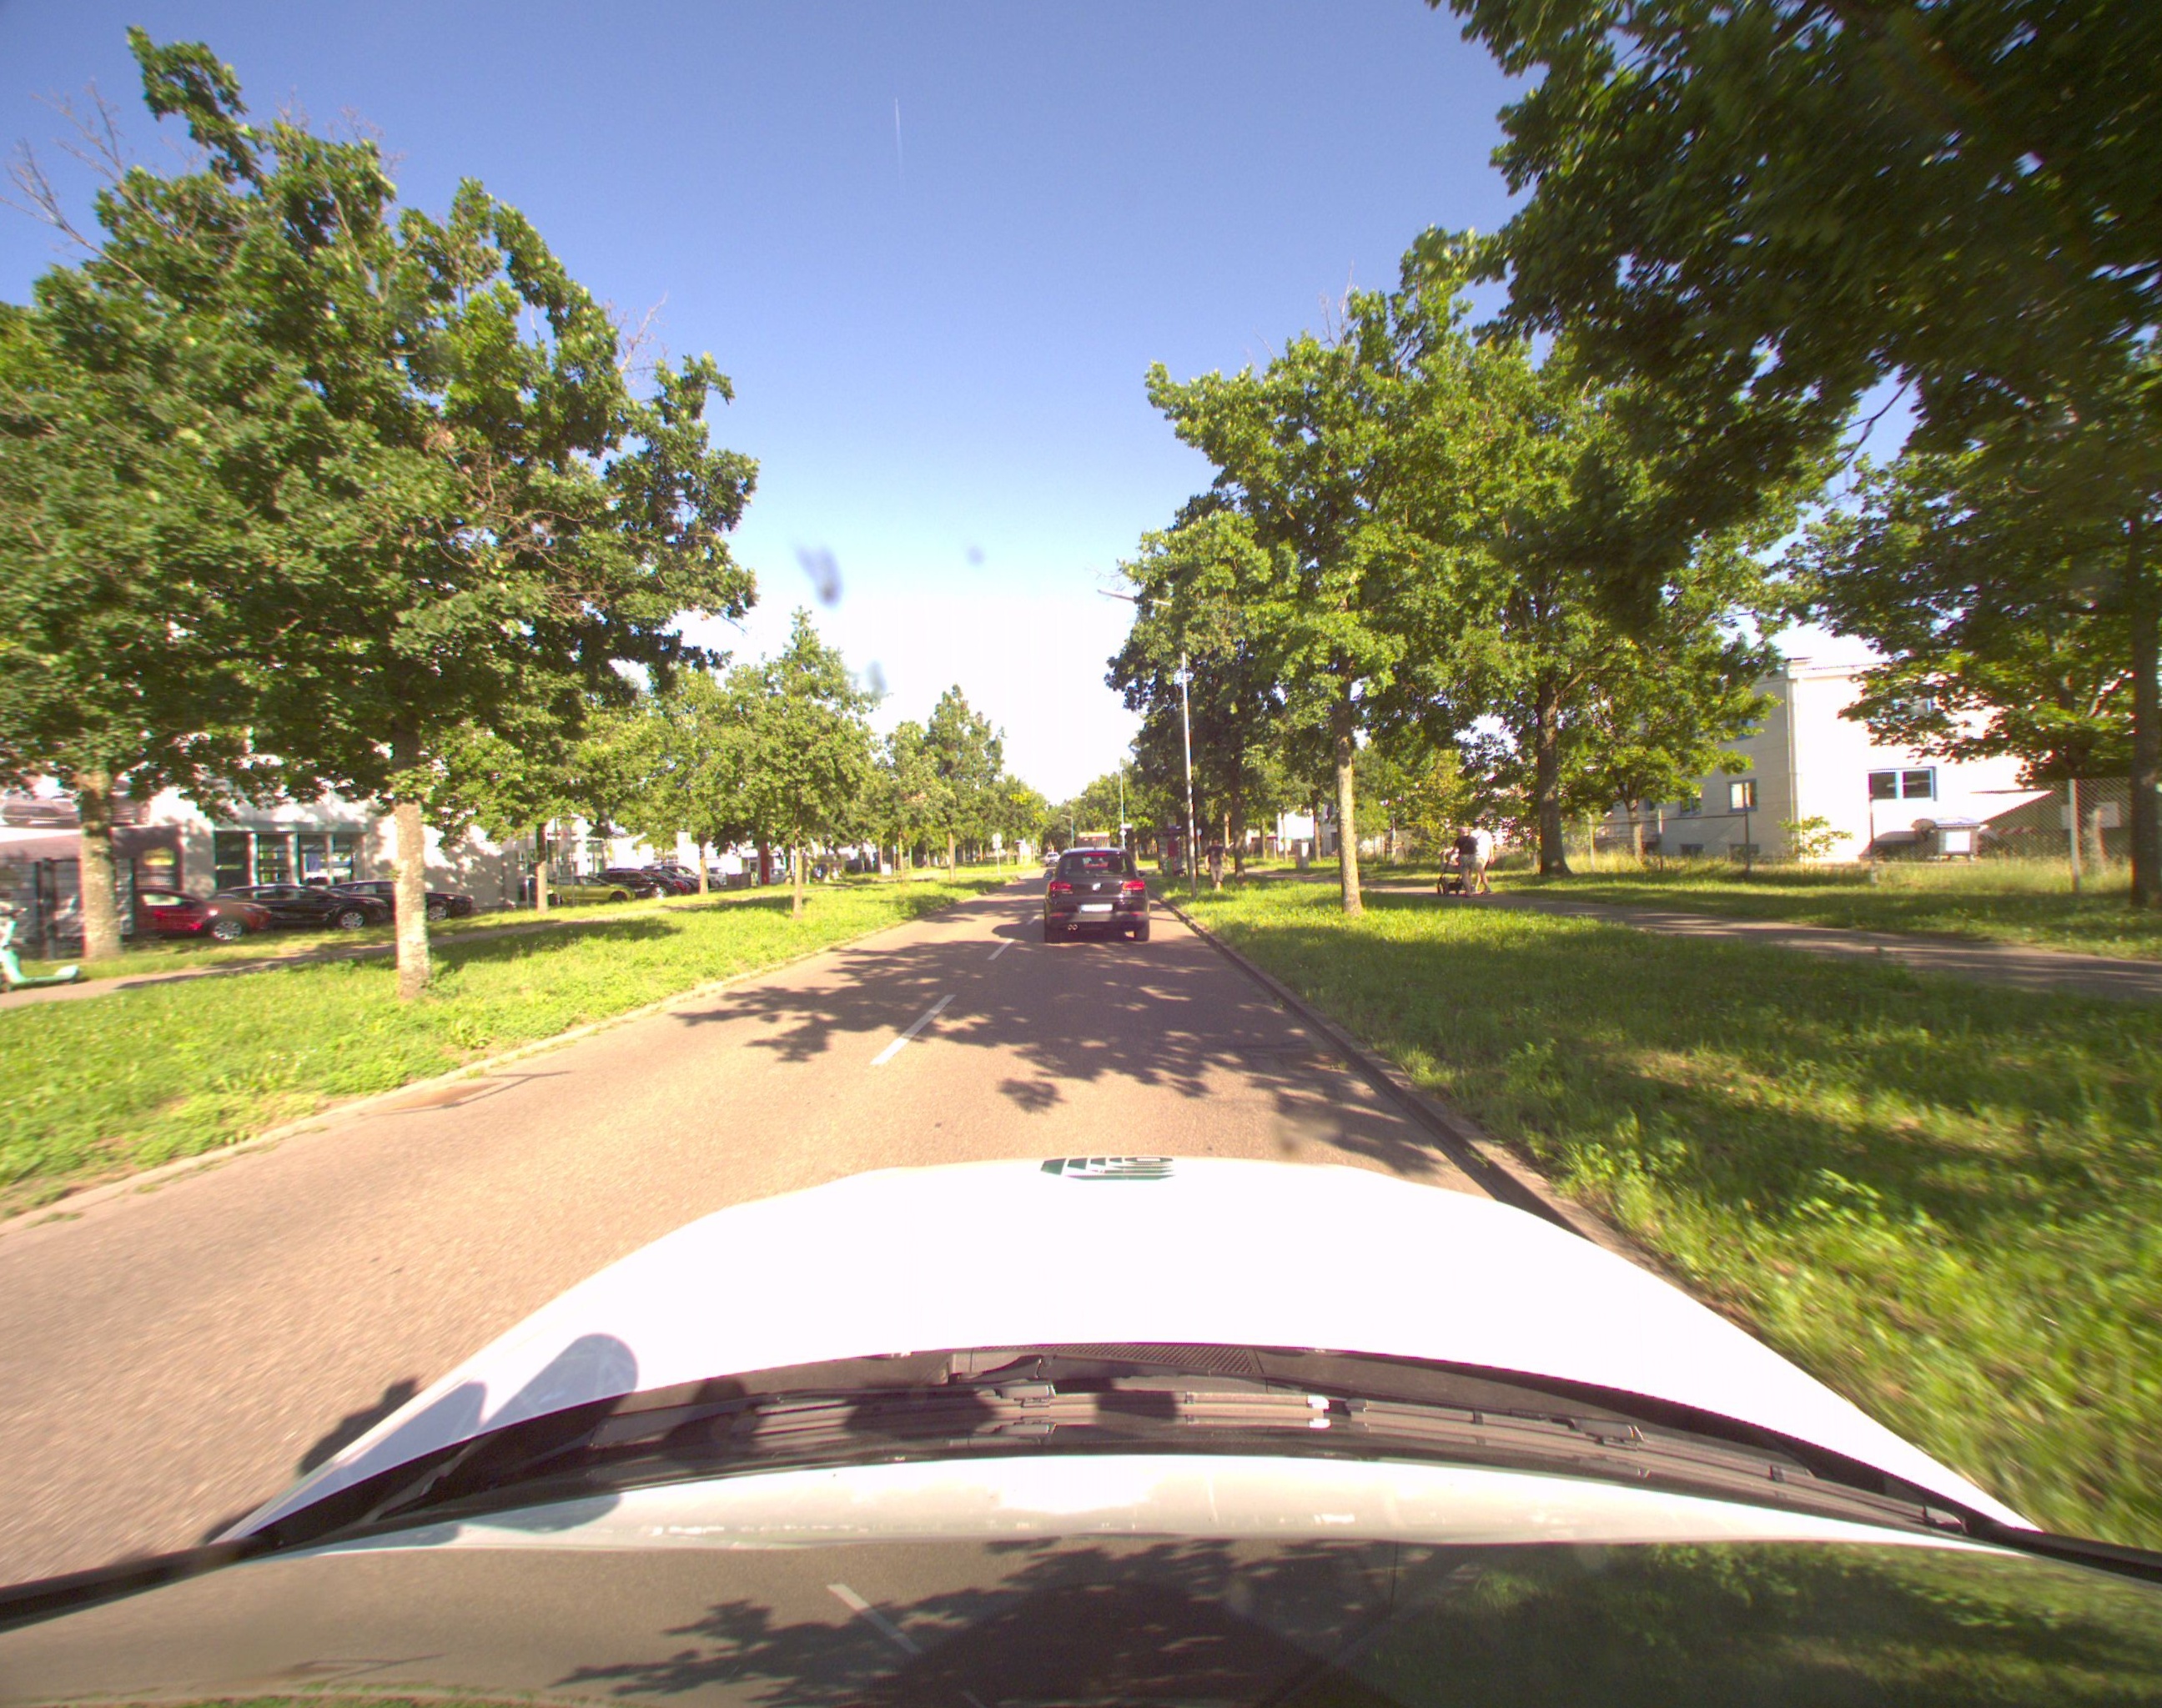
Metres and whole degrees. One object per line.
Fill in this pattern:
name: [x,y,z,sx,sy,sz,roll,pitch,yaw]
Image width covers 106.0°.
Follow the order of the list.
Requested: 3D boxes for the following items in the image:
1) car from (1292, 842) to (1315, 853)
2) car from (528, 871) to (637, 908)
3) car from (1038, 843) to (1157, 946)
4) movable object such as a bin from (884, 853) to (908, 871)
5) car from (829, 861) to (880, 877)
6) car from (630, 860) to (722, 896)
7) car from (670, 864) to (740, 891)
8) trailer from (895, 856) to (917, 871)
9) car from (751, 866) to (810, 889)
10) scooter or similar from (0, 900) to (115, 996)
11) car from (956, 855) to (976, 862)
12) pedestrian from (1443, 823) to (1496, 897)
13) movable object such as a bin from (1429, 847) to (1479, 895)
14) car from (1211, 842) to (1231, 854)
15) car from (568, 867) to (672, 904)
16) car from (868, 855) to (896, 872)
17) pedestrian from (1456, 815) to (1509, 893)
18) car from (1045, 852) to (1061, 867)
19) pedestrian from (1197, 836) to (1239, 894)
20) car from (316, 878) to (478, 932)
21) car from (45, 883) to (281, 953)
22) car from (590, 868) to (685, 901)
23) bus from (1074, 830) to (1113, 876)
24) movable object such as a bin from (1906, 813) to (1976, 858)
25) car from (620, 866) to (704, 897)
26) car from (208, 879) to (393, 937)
car: [29.424,-0.872,107.869,1.761,1.383,3.762,-2,0,-4]
car: [-22.990,1.594,37.609,3.974,1.401,1.976,-3,0,-40]
car: [0.328,0.647,15.544,1.929,1.656,4.428,-1,1,1]
movable object such as a bin: [-23.933,1.005,105.492,2.096,2.217,4.459,-2,0,0]
car: [-23.251,1.528,83.657,4.479,1.479,1.944,-3,0,5]
car: [-25.980,1.511,52.297,4.884,2.013,1.976,-3,0,-41]
car: [-30.016,1.885,65.018,4.971,1.906,1.950,-2,0,17]
trailer: [-24.203,1.265,112.619,2.096,1.914,3.739,-2,0,-1]
car: [-23.439,1.820,63.556,3.715,1.618,1.971,-2,0,14]
scooter or similar: [-15.422,1.366,12.071,0.393,1.279,1.442,-2,0,2]
car: [-25.344,1.038,179.524,4.181,1.321,1.943,-2,0,2]
pedestrian: [8.772,0.139,18.423,0.723,1.603,0.868,-3,0,1]
movable object such as a bin: [8.819,0.393,19.287,0.723,1.081,0.868,-4,0,1]
car: [22.175,-0.953,129.206,2.180,1.744,4.635,-2,0,-4]
car: [-23.064,1.549,40.817,4.192,1.538,1.874,-3,0,-40]
car: [-24.264,1.107,99.475,2.030,1.988,5.802,-3,0,-2]
pedestrian: [9.510,-0.001,19.307,0.723,1.755,0.868,-4,0,1]
car: [-3.218,0.607,92.597,1.740,1.464,4.422,-3,0,-3]
pedestrian: [4.046,0.315,24.203,1.016,1.651,1.100,-3,0,1]
car: [-23.912,1.728,28.661,4.010,1.511,1.785,-3,1,-28]
car: [-24.256,1.627,21.756,1.778,1.448,4.024,-2,0,44]
car: [-23.896,1.634,43.940,4.190,1.491,1.977,-3,0,-38]
bus: [0.919,-0.117,68.995,2.757,3.456,11.203,-2,0,-2]
movable object such as a bin: [28.050,-0.594,26.583,1.175,1.406,1.064,-3,0,18]
car: [-24.378,1.570,47.367,4.183,1.562,1.980,-3,0,-31]
car: [-24.130,1.623,25.400,4.022,1.448,1.779,-3,0,-42]
